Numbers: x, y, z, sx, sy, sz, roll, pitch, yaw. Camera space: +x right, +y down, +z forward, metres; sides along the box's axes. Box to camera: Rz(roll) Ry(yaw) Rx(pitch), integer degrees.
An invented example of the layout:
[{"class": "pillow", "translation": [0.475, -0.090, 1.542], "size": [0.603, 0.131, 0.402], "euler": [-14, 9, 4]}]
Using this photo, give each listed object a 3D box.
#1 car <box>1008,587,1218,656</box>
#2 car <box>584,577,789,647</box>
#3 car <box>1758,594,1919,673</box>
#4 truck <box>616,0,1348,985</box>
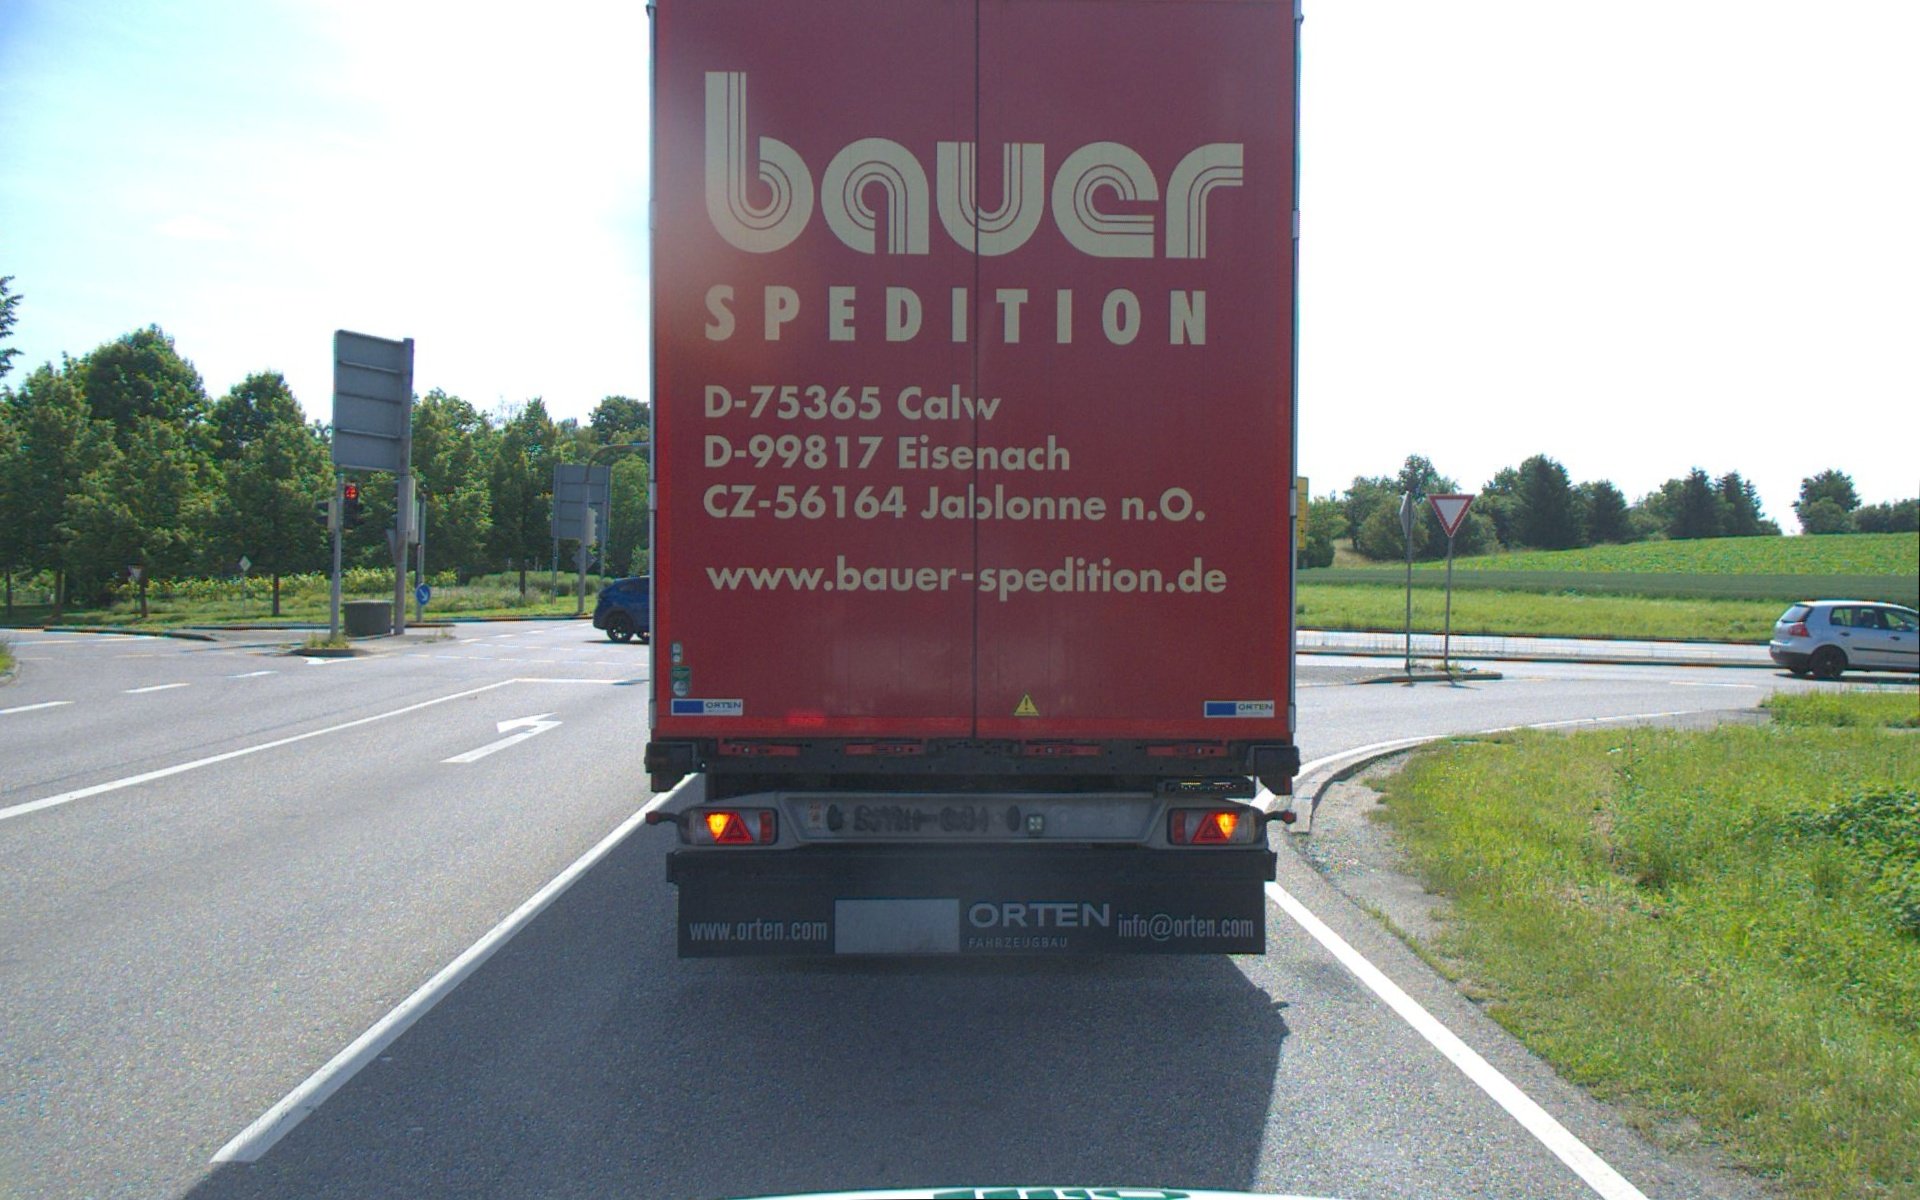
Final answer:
[{"class": "car", "translation": [3.244, 0.443, 34.822], "size": [4.176, 1.328, 1.743], "euler": [1, 0, 13]}, {"class": "car", "translation": [-6.140, 0.260, 37.227], "size": [4.176, 1.454, 1.743], "euler": [1, 0, 13]}, {"class": "car", "translation": [18.029, 0.662, 32.417], "size": [3.948, 1.441, 1.796], "euler": [1, 0, 11]}, {"class": "truck", "translation": [-0.068, -0.664, 14.449], "size": [2.679, 3.993, 16.622], "euler": [1, 1, -1]}]
